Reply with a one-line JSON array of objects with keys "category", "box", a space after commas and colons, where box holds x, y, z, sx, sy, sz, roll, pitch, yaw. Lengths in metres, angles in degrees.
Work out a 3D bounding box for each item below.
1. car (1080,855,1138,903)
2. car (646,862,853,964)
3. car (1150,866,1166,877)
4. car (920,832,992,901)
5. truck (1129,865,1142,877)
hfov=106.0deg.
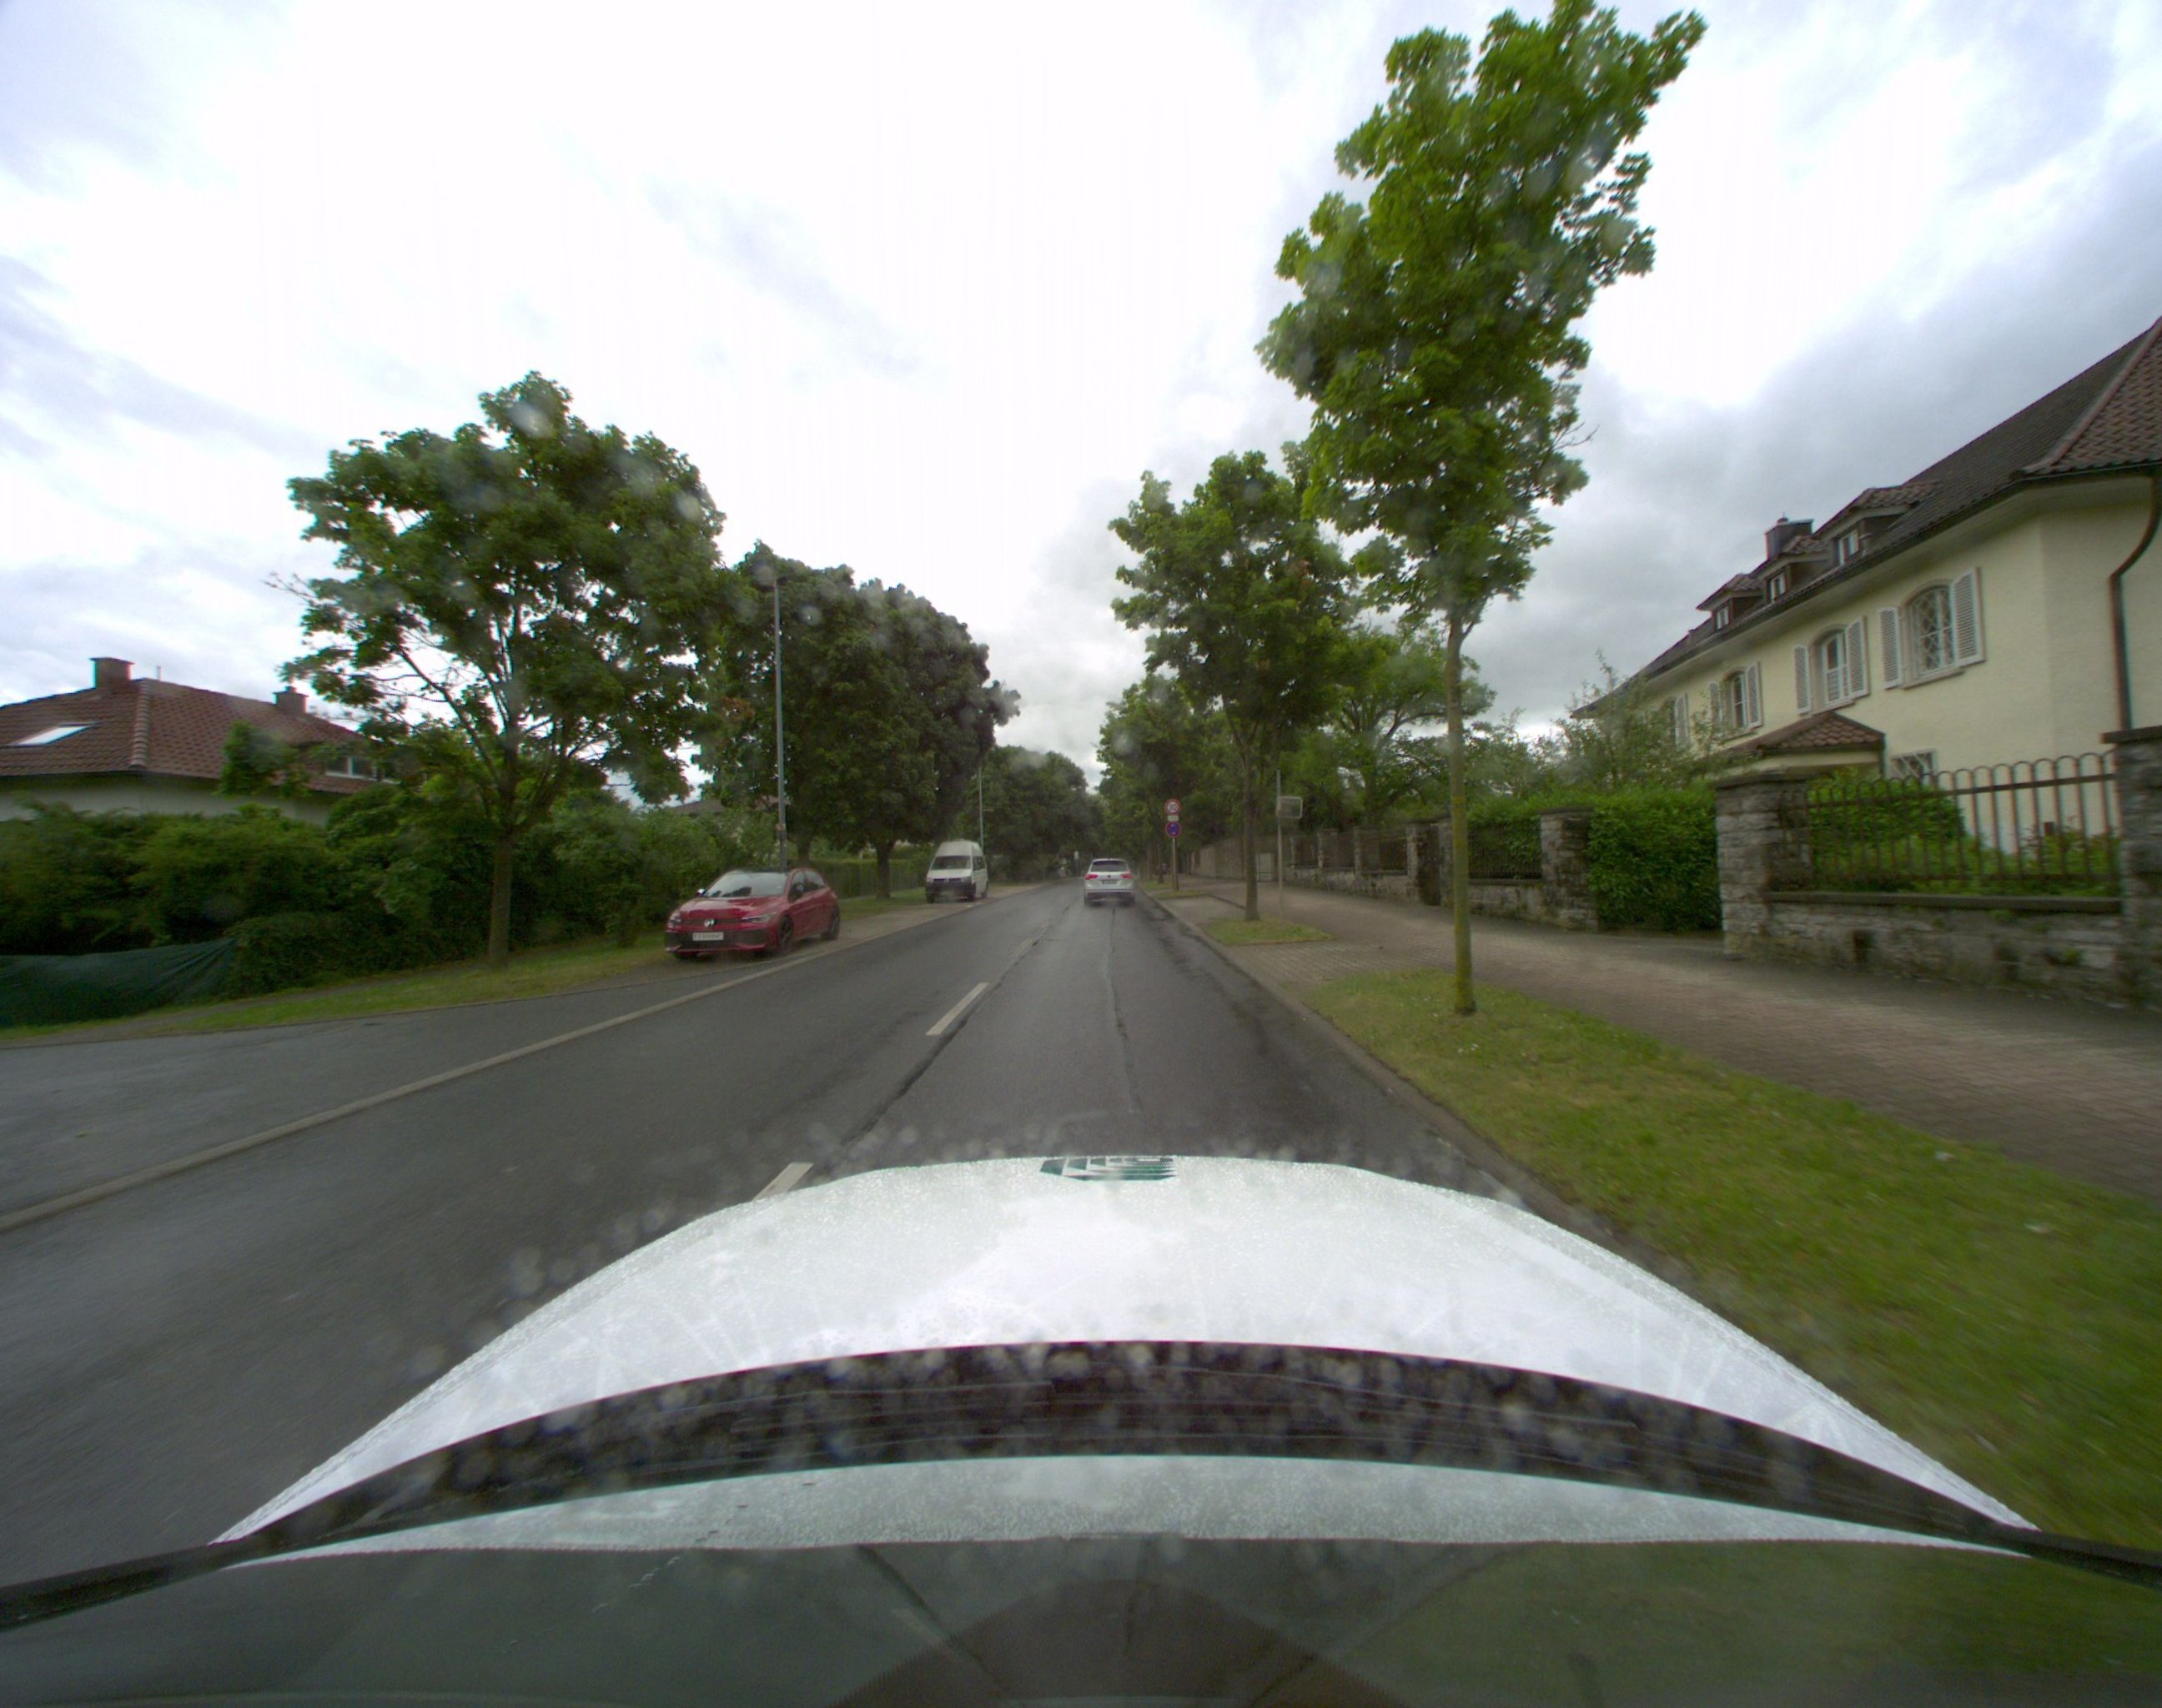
[{"category": "car", "box": [1.047, 0.867, 30.131, 1.989, 1.632, 4.001, -1, -1, 2]}, {"category": "car", "box": [-5.591, 0.908, 14.398, 1.837, 1.466, 4.250, -1, 0, 1]}, {"category": "car", "box": [11.366, 2.578, 119.620, 1.829, 1.487, 4.012, -4, -2, 11]}, {"category": "car", "box": [-5.084, 0.494, 33.760, 1.986, 2.561, 5.233, -2, -1, 1]}, {"category": "truck", "box": [12.528, 3.815, 186.221, 2.270, 2.597, 5.891, -2, -2, 11]}]
